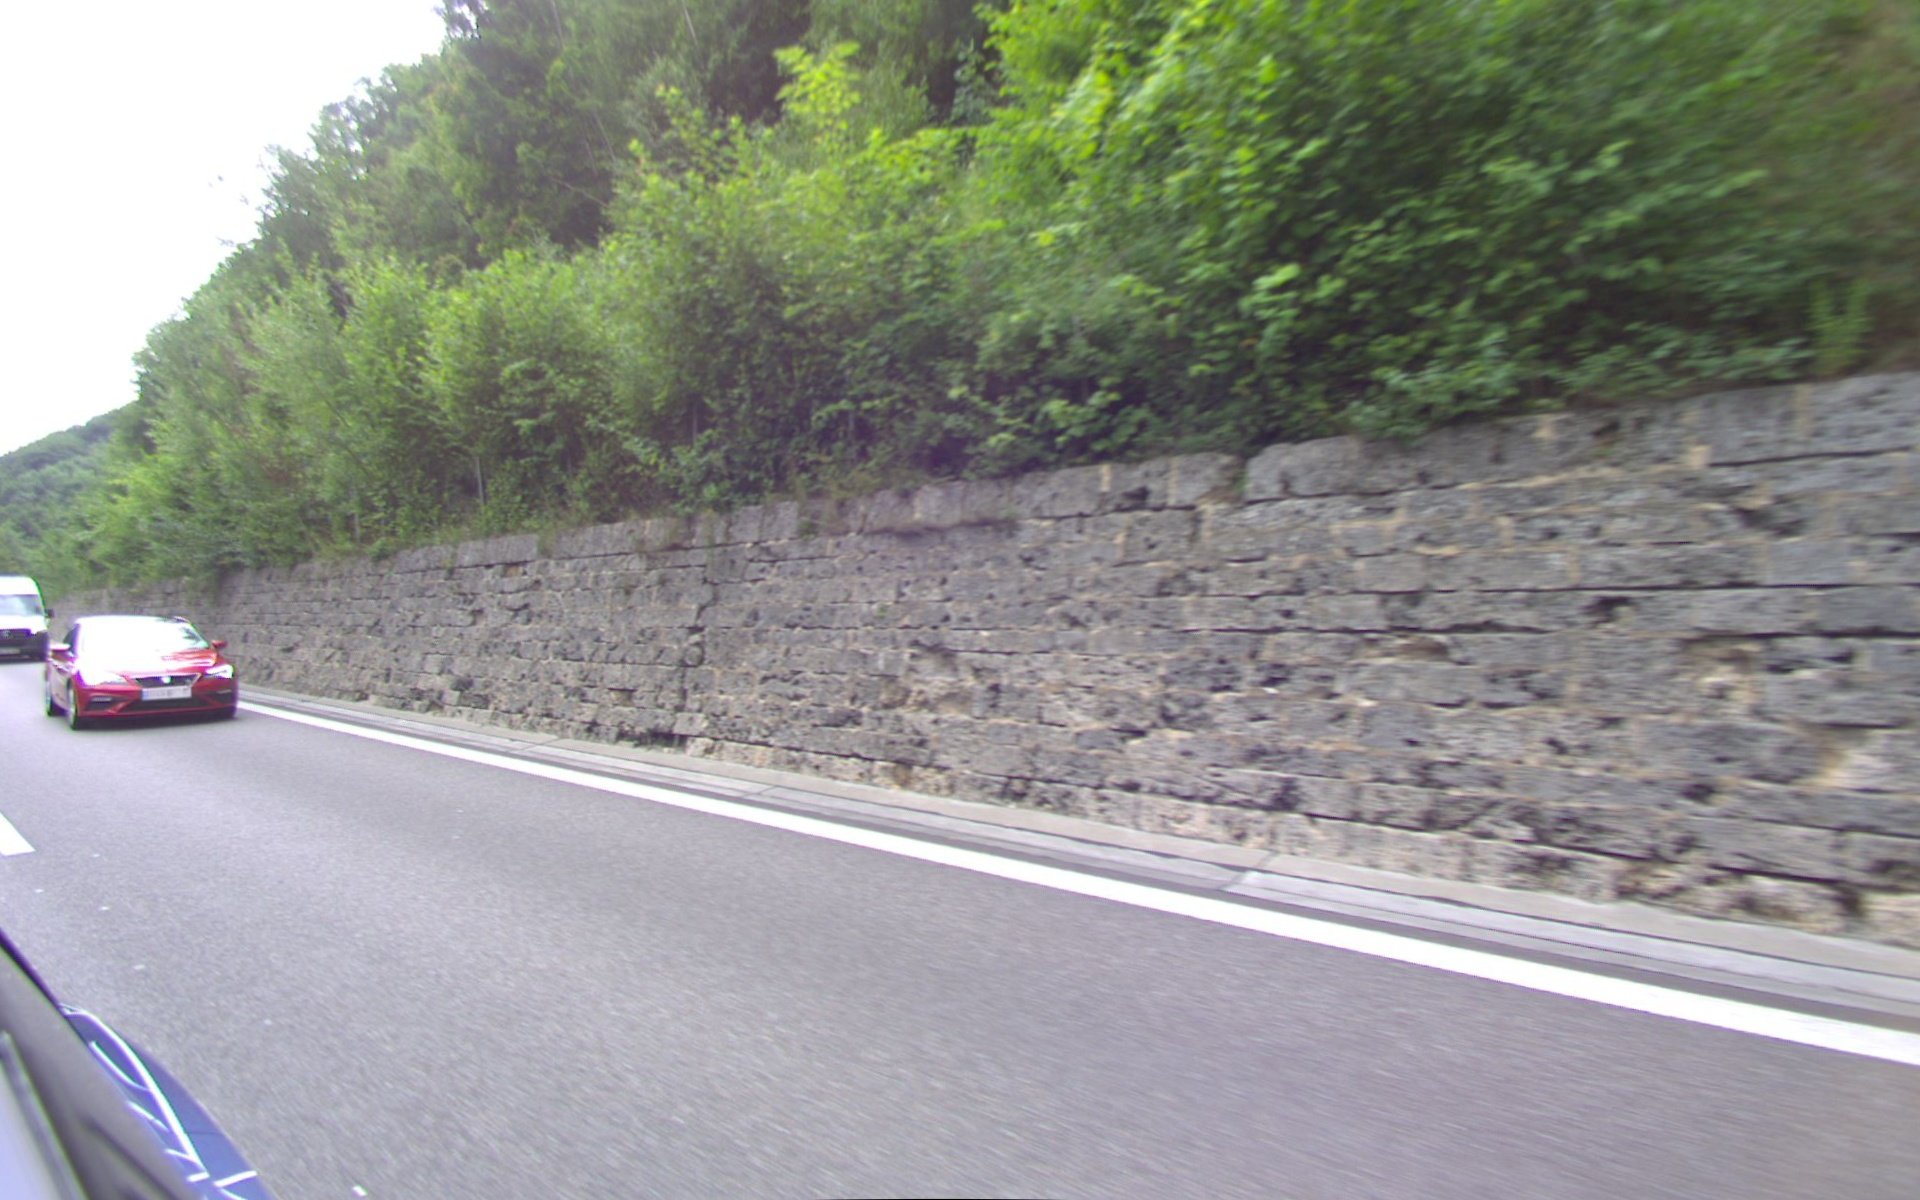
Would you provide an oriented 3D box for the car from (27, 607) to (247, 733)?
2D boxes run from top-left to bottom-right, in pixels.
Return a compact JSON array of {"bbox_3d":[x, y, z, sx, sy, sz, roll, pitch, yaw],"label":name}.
[{"bbox_3d":[-11.669,0.864,14.244,4.410,1.471,1.747,-1,0,42],"label":"car"}]

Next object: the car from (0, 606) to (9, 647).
[{"bbox_3d":[-49.081,1.355,50.732,1.970,1.967,6.153,-3,1,-43],"label":"car"}]

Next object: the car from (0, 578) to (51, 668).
[{"bbox_3d":[-29.957,0.702,31.559,6.277,2.604,2.003,-1,0,45],"label":"car"}]

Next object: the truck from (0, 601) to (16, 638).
[{"bbox_3d":[-61.600,1.269,64.373,1.969,2.297,6.594,-3,1,-41],"label":"truck"}]
